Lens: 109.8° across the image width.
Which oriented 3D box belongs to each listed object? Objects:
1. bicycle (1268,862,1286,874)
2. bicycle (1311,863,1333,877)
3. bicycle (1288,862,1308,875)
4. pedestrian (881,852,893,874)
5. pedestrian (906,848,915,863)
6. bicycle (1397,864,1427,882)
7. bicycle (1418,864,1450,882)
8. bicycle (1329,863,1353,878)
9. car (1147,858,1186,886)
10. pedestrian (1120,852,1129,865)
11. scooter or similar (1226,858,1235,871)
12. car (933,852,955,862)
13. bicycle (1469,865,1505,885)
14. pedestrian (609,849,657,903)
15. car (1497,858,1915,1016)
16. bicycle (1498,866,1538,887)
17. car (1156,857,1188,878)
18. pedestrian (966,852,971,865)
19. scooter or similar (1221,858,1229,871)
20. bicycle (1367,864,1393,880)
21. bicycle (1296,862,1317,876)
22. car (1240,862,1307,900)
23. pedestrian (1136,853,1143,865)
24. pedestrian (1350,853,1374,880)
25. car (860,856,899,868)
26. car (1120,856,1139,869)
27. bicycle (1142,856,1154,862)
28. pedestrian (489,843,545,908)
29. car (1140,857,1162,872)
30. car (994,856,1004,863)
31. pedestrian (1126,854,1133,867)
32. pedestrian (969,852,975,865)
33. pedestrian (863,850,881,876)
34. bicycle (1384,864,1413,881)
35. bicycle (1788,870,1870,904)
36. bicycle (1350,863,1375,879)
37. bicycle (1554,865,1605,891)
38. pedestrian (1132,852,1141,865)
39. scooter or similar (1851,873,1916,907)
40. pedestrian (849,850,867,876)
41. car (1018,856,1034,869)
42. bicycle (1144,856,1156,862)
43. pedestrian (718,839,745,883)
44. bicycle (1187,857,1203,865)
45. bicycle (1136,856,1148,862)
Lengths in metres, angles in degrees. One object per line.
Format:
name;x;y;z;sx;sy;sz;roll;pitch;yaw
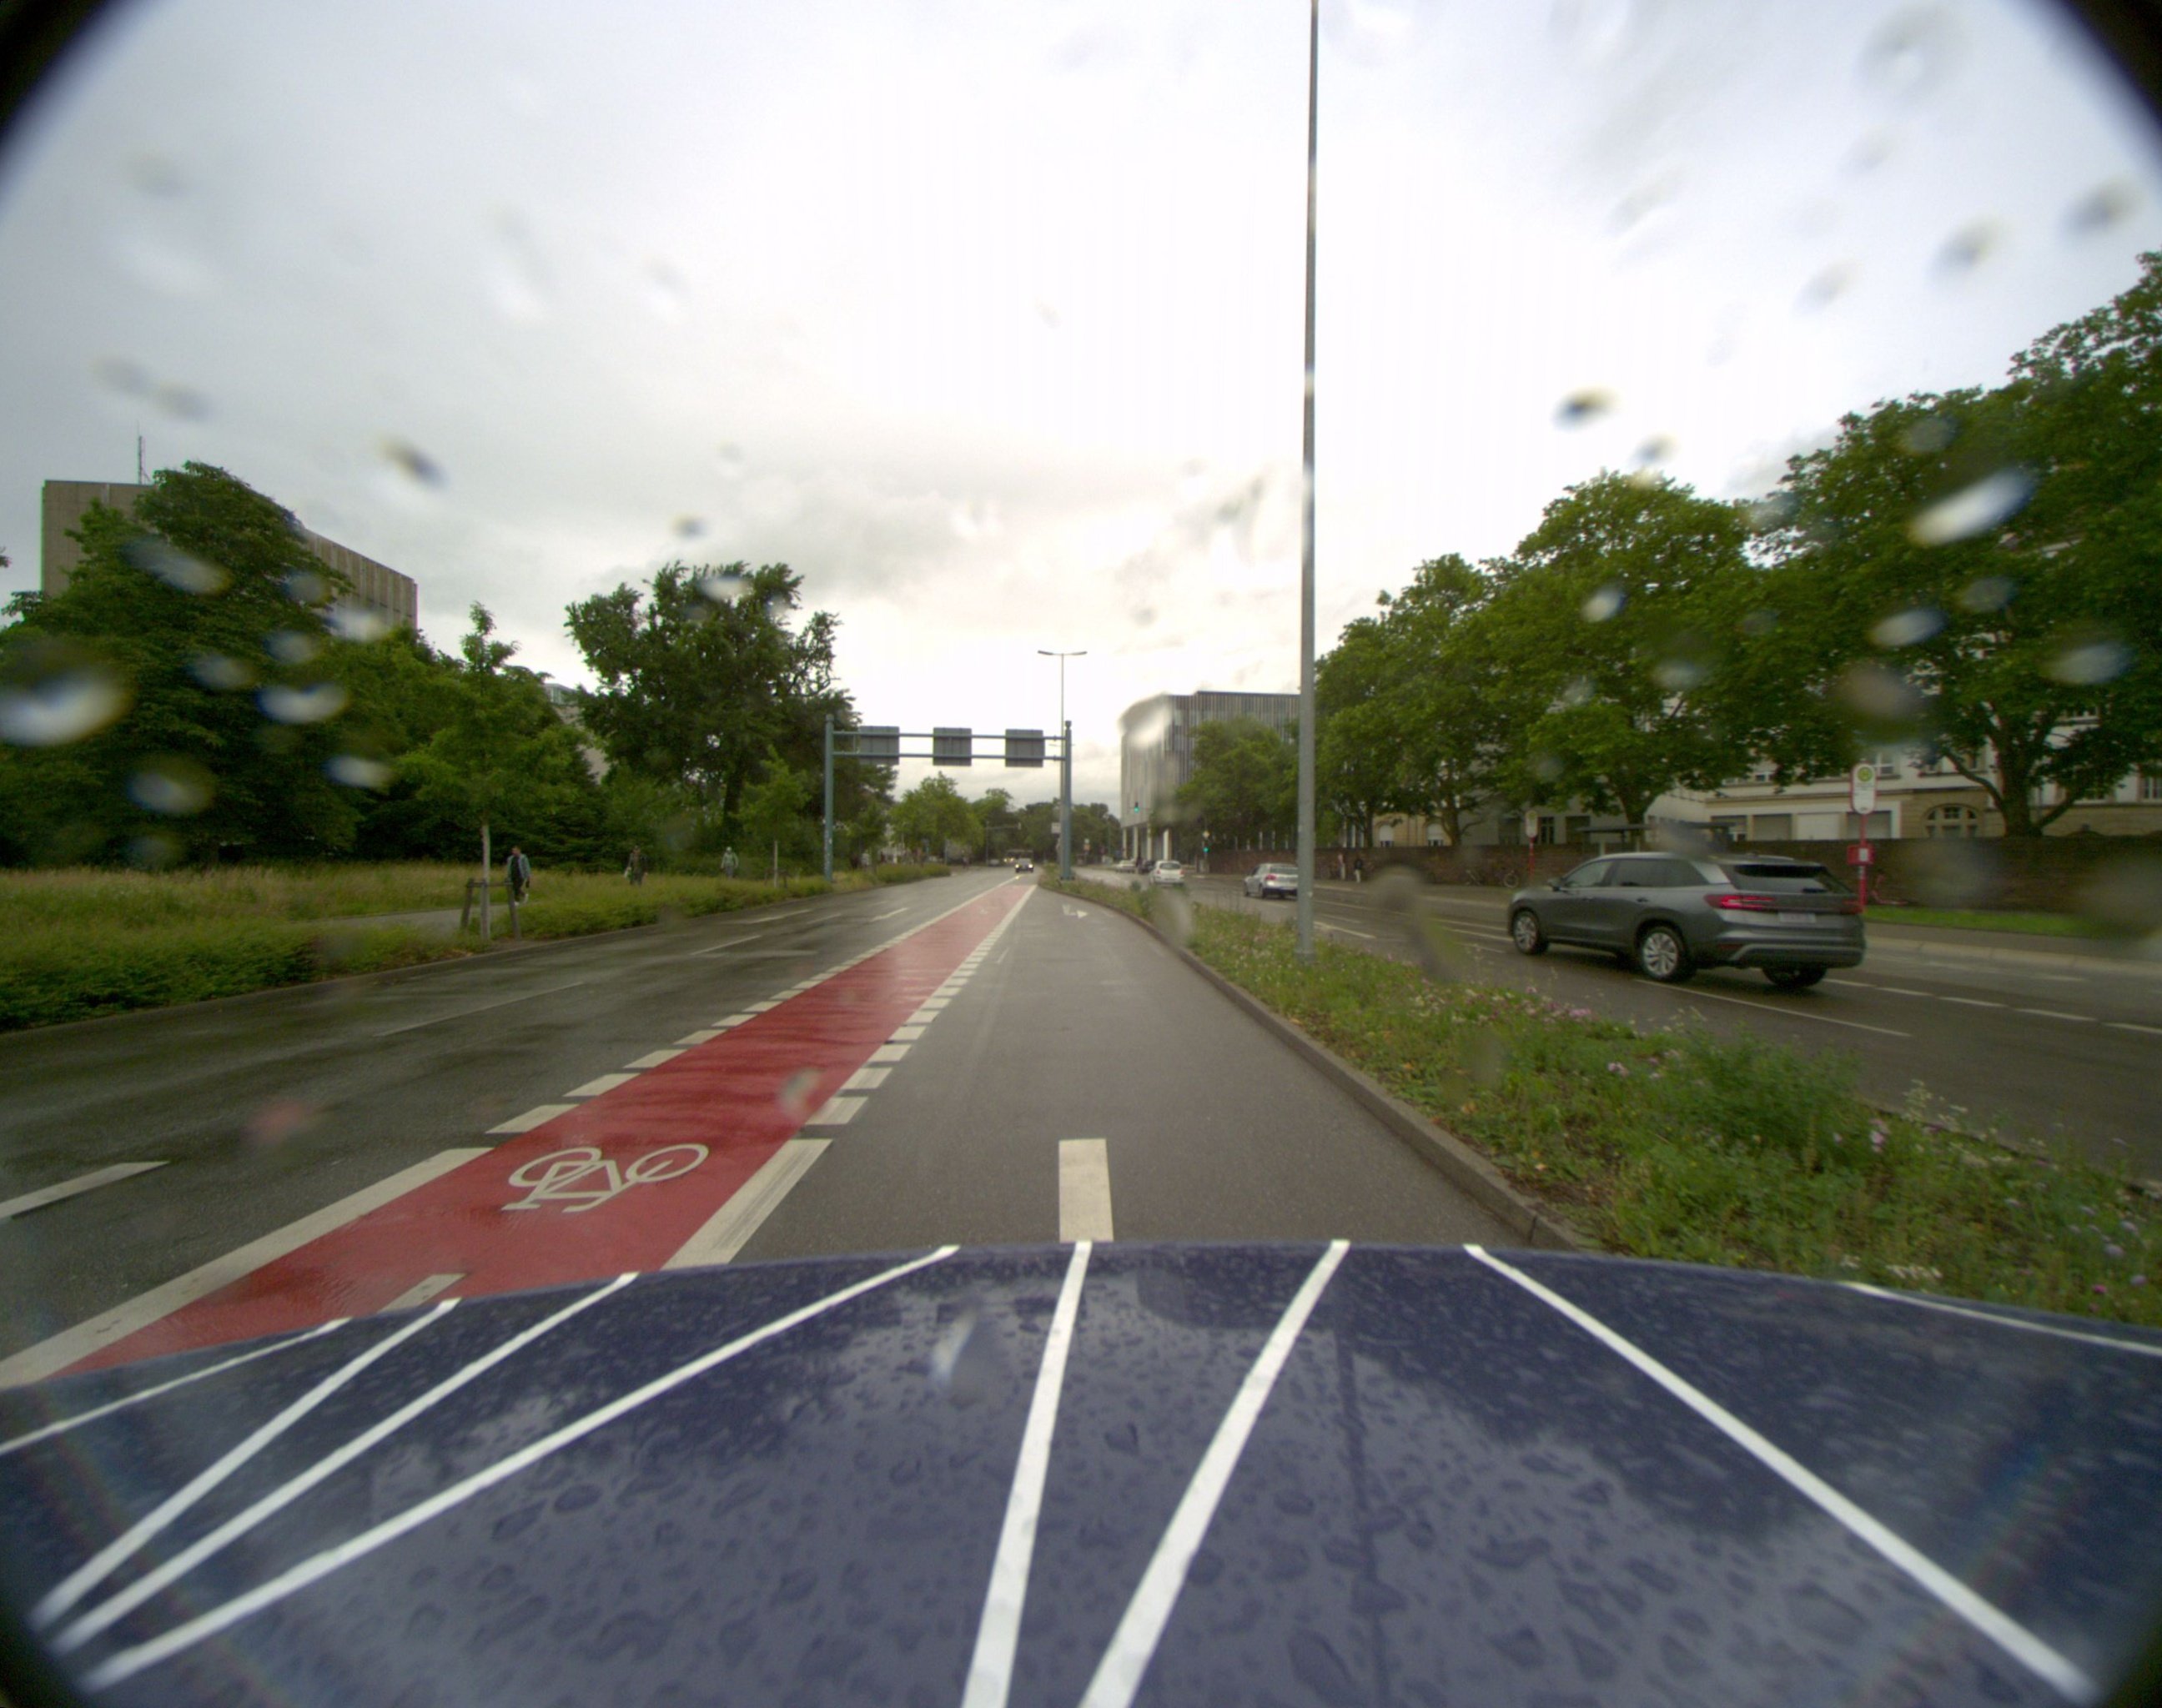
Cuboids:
bicycle;16.049;1.123;62.182;0.734;0.977;1.699;0;0;-14
bicycle;17.304;1.115;54.528;0.734;0.977;1.699;0;0;-14
bicycle;16.702;1.119;58.511;0.734;0.977;1.699;0;0;-14
pedestrian;-16.018;0.746;62.780;0.731;1.848;0.851;0;0;4
pedestrian;-18.841;0.170;83.966;0.878;1.597;0.862;0;0;-25
bicycle;19.606;1.125;45.048;0.734;0.977;1.699;0;0;-14
bicycle;19.811;1.049;42.701;0.734;0.977;1.699;0;0;-14
bicycle;17.953;1.115;52.459;0.734;0.977;1.699;0;0;-14
car;4.836;1.002;43.337;1.683;1.492;3.868;1;0;-1
pedestrian;6.456;0.639;111.993;0.941;1.813;0.921;0;0;-33
scooter or similar;14.139;1.026;71.941;0.392;1.191;1.141;-7;1;-9
car;-28.189;0.615;155.864;4.428;1.861;1.636;0;0;-11
bicycle;21.267;1.080;39.839;0.734;0.977;1.699;0;0;-14
pedestrian;-14.788;0.716;25.091;0.935;1.737;1.046;0;0;4
car;8.103;0.925;10.624;1.998;1.626;4.602;2;0;0
bicycle;21.715;1.121;37.802;0.734;0.977;1.699;0;0;-14
car;7.418;1.090;62.523;1.813;1.531;4.702;2;0;-3
pedestrian;-15.612;0.595;105.180;0.625;1.813;0.785;0;0;-17
scooter or similar;13.955;1.029;73.650;0.392;1.191;1.141;-7;1;-7
bicycle;18.900;1.111;48.052;0.734;0.977;1.699;0;0;-14
bicycle;16.721;1.114;56.329;0.733;0.977;1.863;0;0;-9
car;8.033;1.093;31.997;1.683;1.396;4.157;1;0;-1
pedestrian;8.459;0.760;110.378;0.788;1.813;0.623;0;0;-26
pedestrian;17.449;0.766;47.213;0.871;1.686;1.399;0;0;-9
car;-24.314;0.920;91.821;4.389;1.330;1.771;0;3;-6
car;5.663;0.951;89.105;1.600;1.407;4.522;2;0;-5
bicycle;12.777;0.910;145.252;2.283;1.215;0.599;0;0;6
pedestrian;-15.856;0.582;21.381;0.935;1.786;0.829;0;0;4
car;6.889;1.032;74.999;1.628;1.407;4.065;2;0;-2
car;-15.473;1.030;142.994;1.661;1.259;4.105;0;0;-4
pedestrian;6.674;0.845;104.649;0.788;1.813;0.794;0;0;-26
pedestrian;-15.122;0.621;105.813;0.625;1.813;0.785;0;0;-25
pedestrian;-14.092;0.619;51.185;0.935;1.710;0.829;-1;-2;2
bicycle;19.378;1.125;46.382;0.734;0.977;1.699;0;0;-14
bicycle;26.283;1.130;26.742;0.575;1.129;1.988;0;0;-18
bicycle;18.401;1.112;49.731;0.734;0.977;1.699;0;0;-14
bicycle;22.825;1.099;34.844;0.575;1.129;1.987;0;0;-22
pedestrian;8.239;0.656;112.523;0.941;1.813;0.922;0;0;-26
scooter or similar;26.792;1.188;25.387;0.574;1.040;1.360;0;0;-18
pedestrian;-15.116;0.635;51.457;0.935;1.693;0.829;-1;-2;2
car;-5.717;0.885;78.718;1.661;1.356;4.105;0;0;-4
bicycle;12.947;0.907;143.136;2.283;1.215;0.599;0;0;6
pedestrian;-15.991;0.303;34.790;0.792;2.002;0.829;0;0;4
bicycle;16.263;0.999;108.572;2.287;1.215;0.598;0;0;-15
bicycle;11.988;0.911;148.267;2.283;1.215;0.599;0;0;6
